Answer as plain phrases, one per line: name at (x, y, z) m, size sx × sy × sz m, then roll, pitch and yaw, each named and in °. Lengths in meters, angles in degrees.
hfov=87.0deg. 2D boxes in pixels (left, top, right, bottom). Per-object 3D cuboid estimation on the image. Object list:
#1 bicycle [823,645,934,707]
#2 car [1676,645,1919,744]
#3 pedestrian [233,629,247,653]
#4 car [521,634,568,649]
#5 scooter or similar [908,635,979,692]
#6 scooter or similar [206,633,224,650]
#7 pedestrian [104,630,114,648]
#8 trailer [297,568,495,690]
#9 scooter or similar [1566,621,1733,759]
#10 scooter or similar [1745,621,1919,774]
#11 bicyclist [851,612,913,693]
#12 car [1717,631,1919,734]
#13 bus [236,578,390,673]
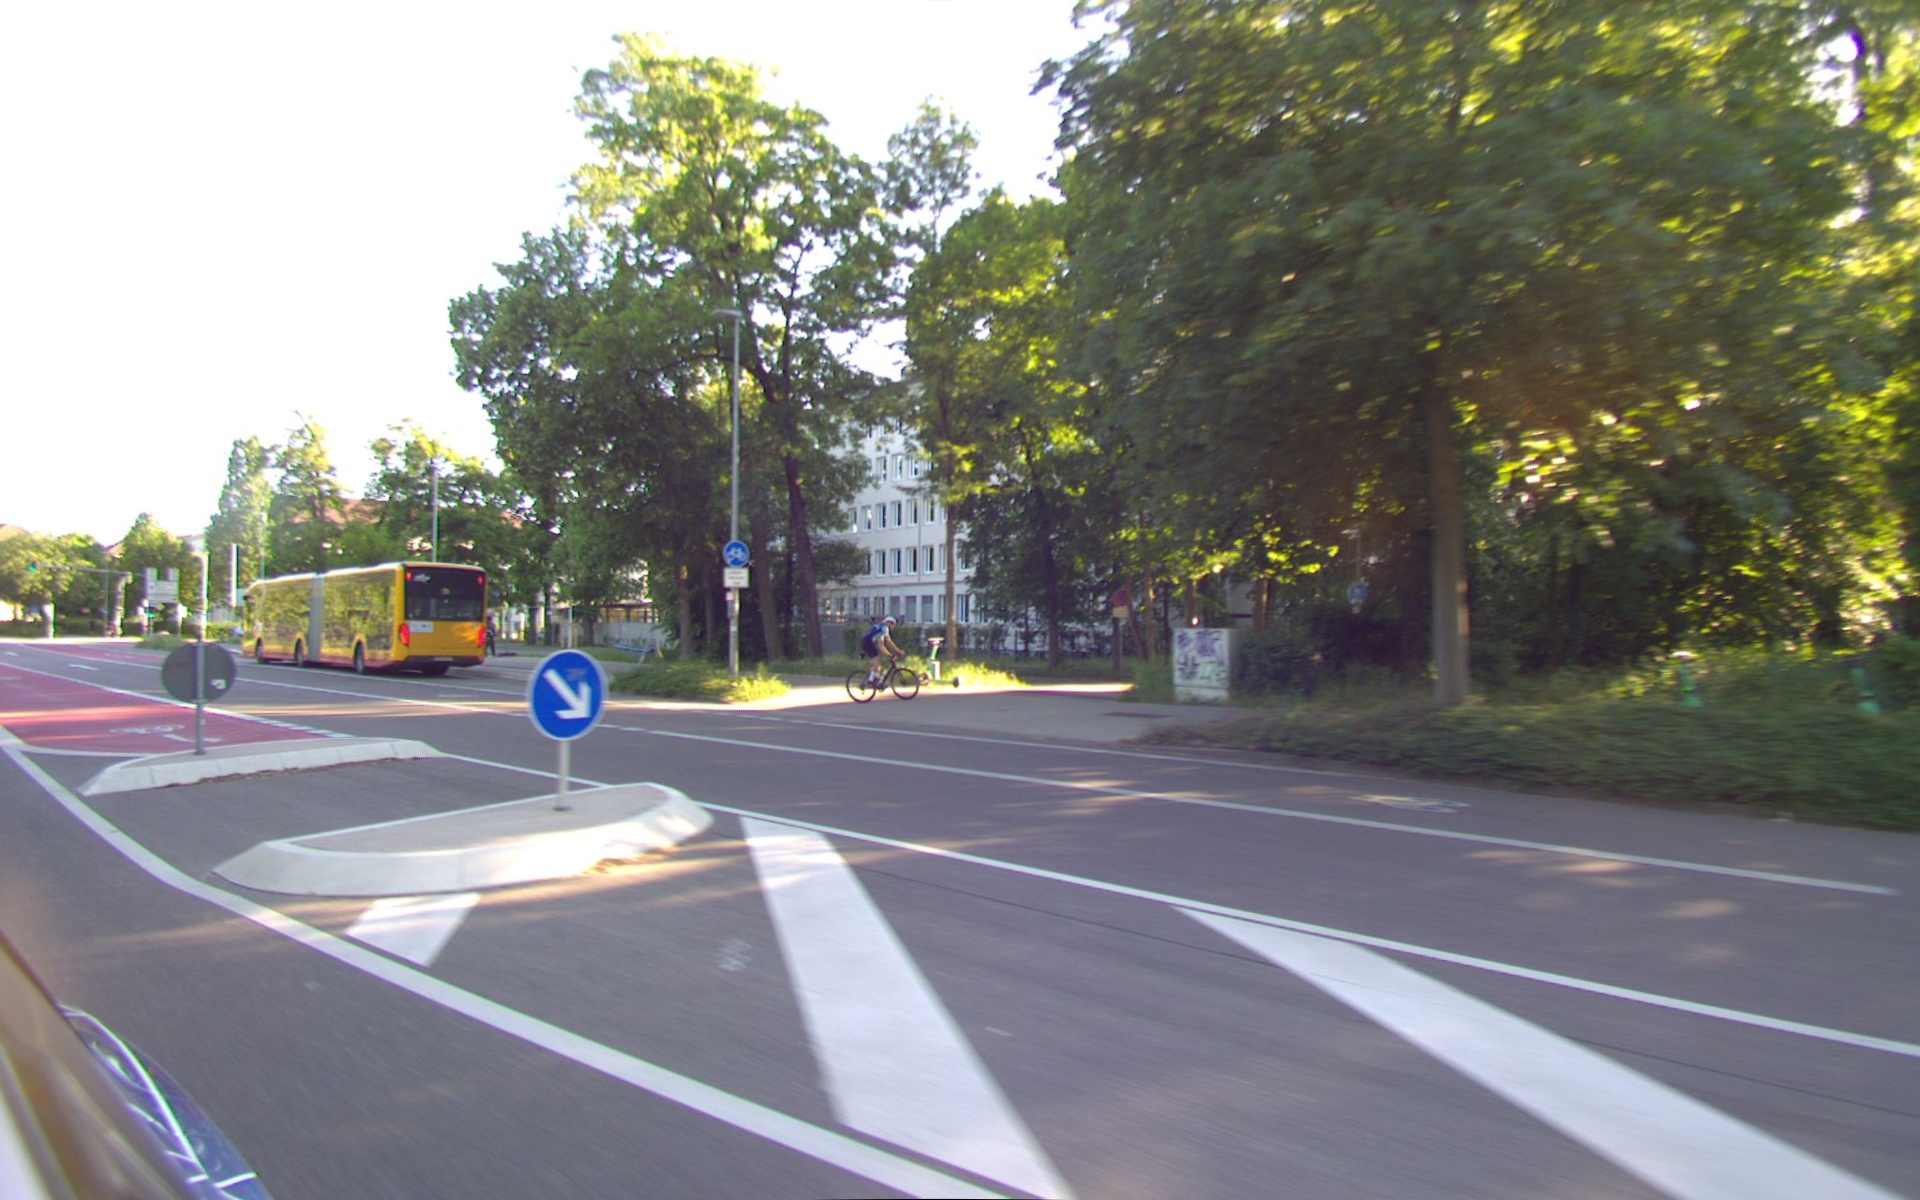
bicycle at (-1.635, 1.516, 20.556) m, size 2.102 × 1.104 × 0.896 m, roll 0°, pitch 0°, yaw -38°
car at (14.117, 1.494, 16.719) m, size 1.536 × 1.411 × 3.501 m, roll 3°, pitch -3°, yaw -17°
pedestrian at (-46.353, 2.630, 65.170) m, size 0.570 × 1.545 × 0.447 m, roll -1°, pitch -6°, yaw 37°
car at (-44.293, 4.402, 107.857) m, size 4.192 × 1.551 × 2.072 m, roll 2°, pitch -3°, yaw -41°
scooter or similar at (-0.399, 1.497, 24.178) m, size 1.570 × 1.320 × 0.819 m, roll -1°, pitch -3°, yaw 42°
scooter or similar at (-57.929, 3.195, 78.738) m, size 0.683 × 1.304 × 1.501 m, roll 1°, pitch -2°, yaw -19°
pedestrian at (-79.290, 3.637, 94.327) m, size 0.681 × 1.694 × 0.681 m, roll 2°, pitch -3°, yaw -40°
trailer at (-18.158, 0.853, 32.191) m, size 9.363 × 3.381 × 2.823 m, roll -1°, pitch 0°, yaw 43°
scooter or similar at (9.226, 1.155, 13.570) m, size 1.740 × 1.730 × 0.819 m, roll -2°, pitch -3°, yaw 42°
scooter or similar at (10.646, 1.132, 12.243) m, size 1.740 × 1.730 × 0.819 m, roll -2°, pitch -3°, yaw 42°
bicyclist at (-1.587, 1.052, 20.609) m, size 0.867 × 1.579 × 0.864 m, roll -3°, pitch 0°, yaw -38°
car at (15.871, 1.398, 18.060) m, size 1.536 × 1.663 × 3.501 m, roll 1°, pitch -2°, yaw -18°
bus at (-24.697, 0.977, 38.399) m, size 8.599 × 3.221 × 2.809 m, roll -1°, pitch -3°, yaw 43°
